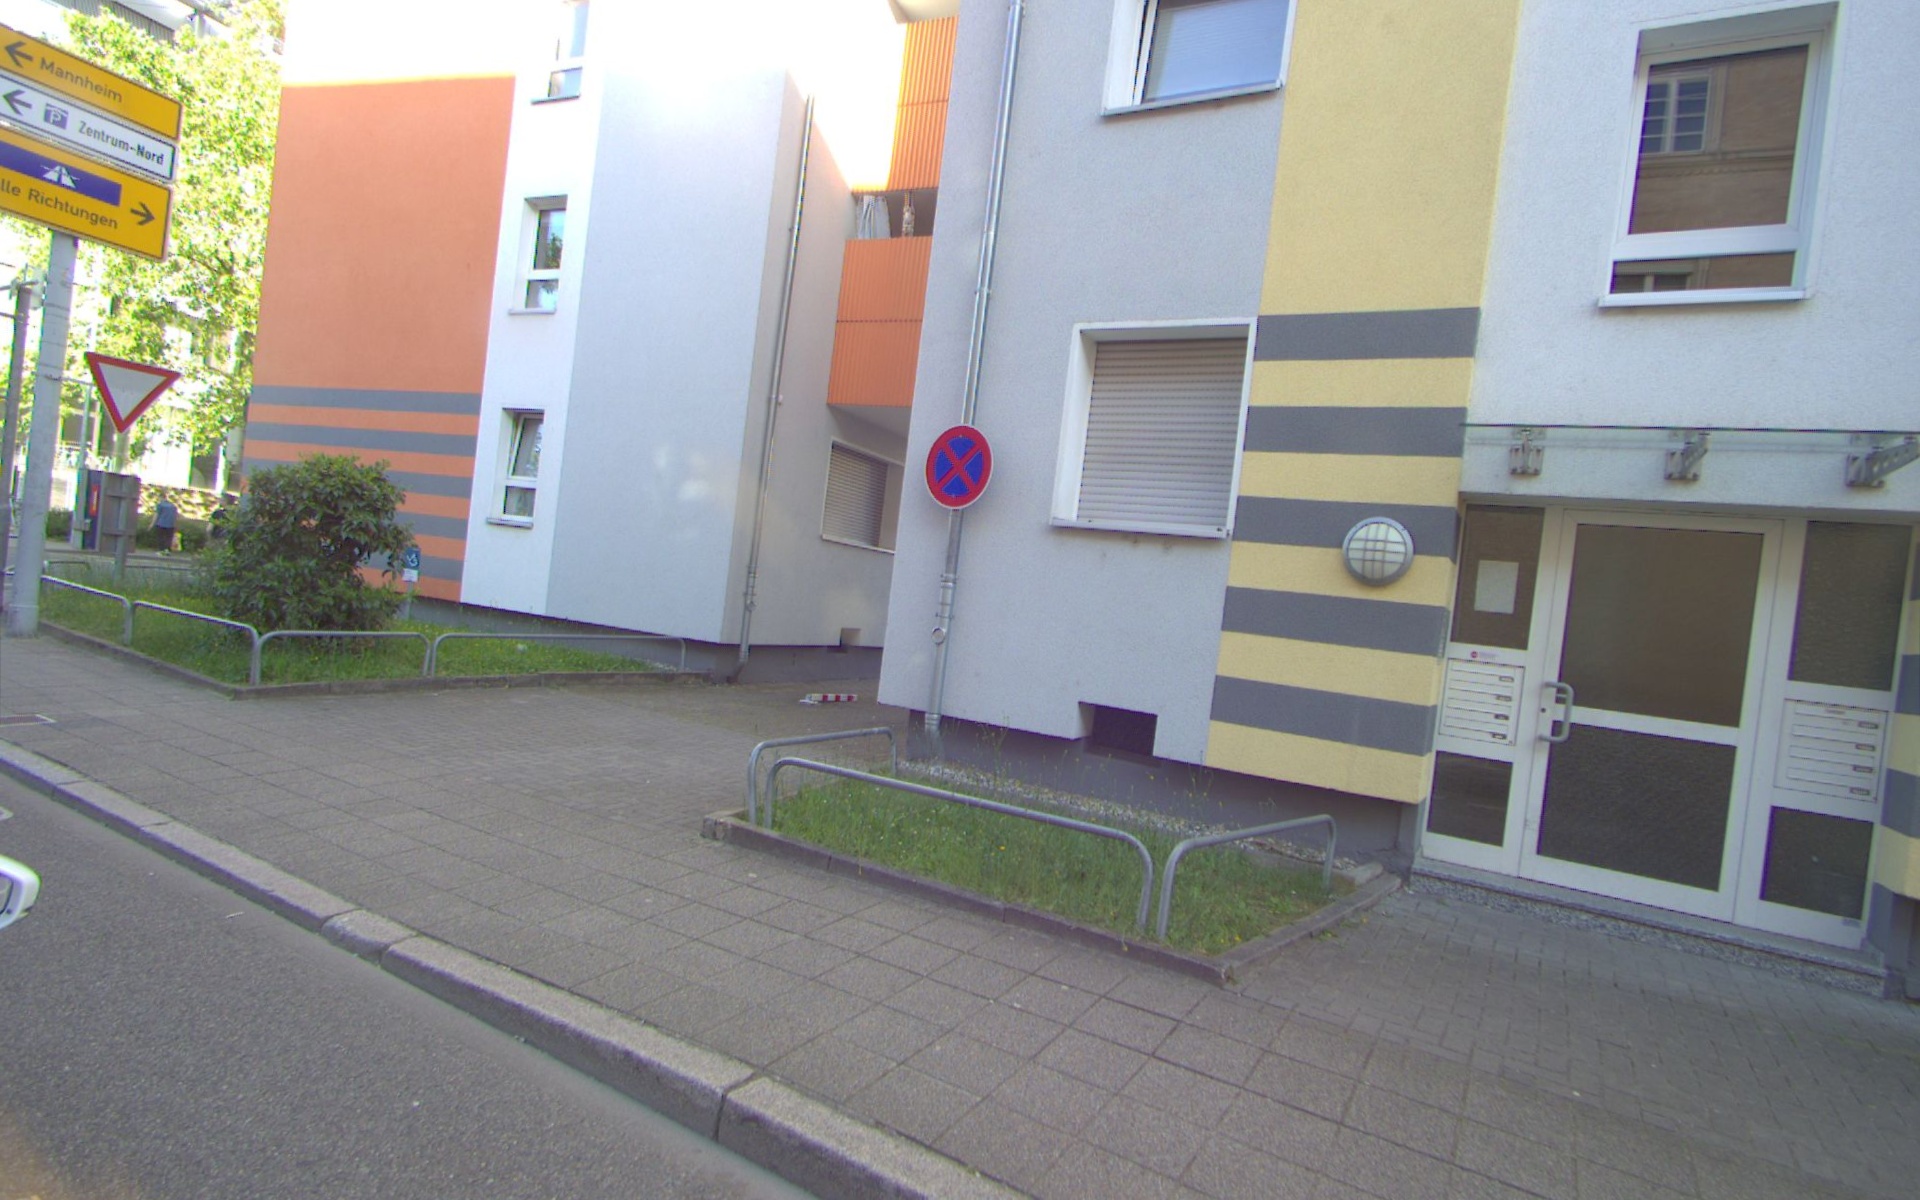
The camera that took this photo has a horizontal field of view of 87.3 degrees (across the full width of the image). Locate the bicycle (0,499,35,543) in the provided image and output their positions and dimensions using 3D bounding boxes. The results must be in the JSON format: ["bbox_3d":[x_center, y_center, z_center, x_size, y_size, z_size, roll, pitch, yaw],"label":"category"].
[{"bbox_3d":[-26.296,-2.232,27.360,1.658,1.063,0.508,9,2,-3],"label":"bicycle"}]

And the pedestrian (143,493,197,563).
[{"bbox_3d":[-22.999,-2.084,29.309,0.696,1.861,0.837,8,-1,27],"label":"pedestrian"}]

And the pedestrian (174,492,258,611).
[{"bbox_3d":[-12.657,-0.820,17.123,0.823,1.861,0.708,8,-1,32],"label":"pedestrian"}]
